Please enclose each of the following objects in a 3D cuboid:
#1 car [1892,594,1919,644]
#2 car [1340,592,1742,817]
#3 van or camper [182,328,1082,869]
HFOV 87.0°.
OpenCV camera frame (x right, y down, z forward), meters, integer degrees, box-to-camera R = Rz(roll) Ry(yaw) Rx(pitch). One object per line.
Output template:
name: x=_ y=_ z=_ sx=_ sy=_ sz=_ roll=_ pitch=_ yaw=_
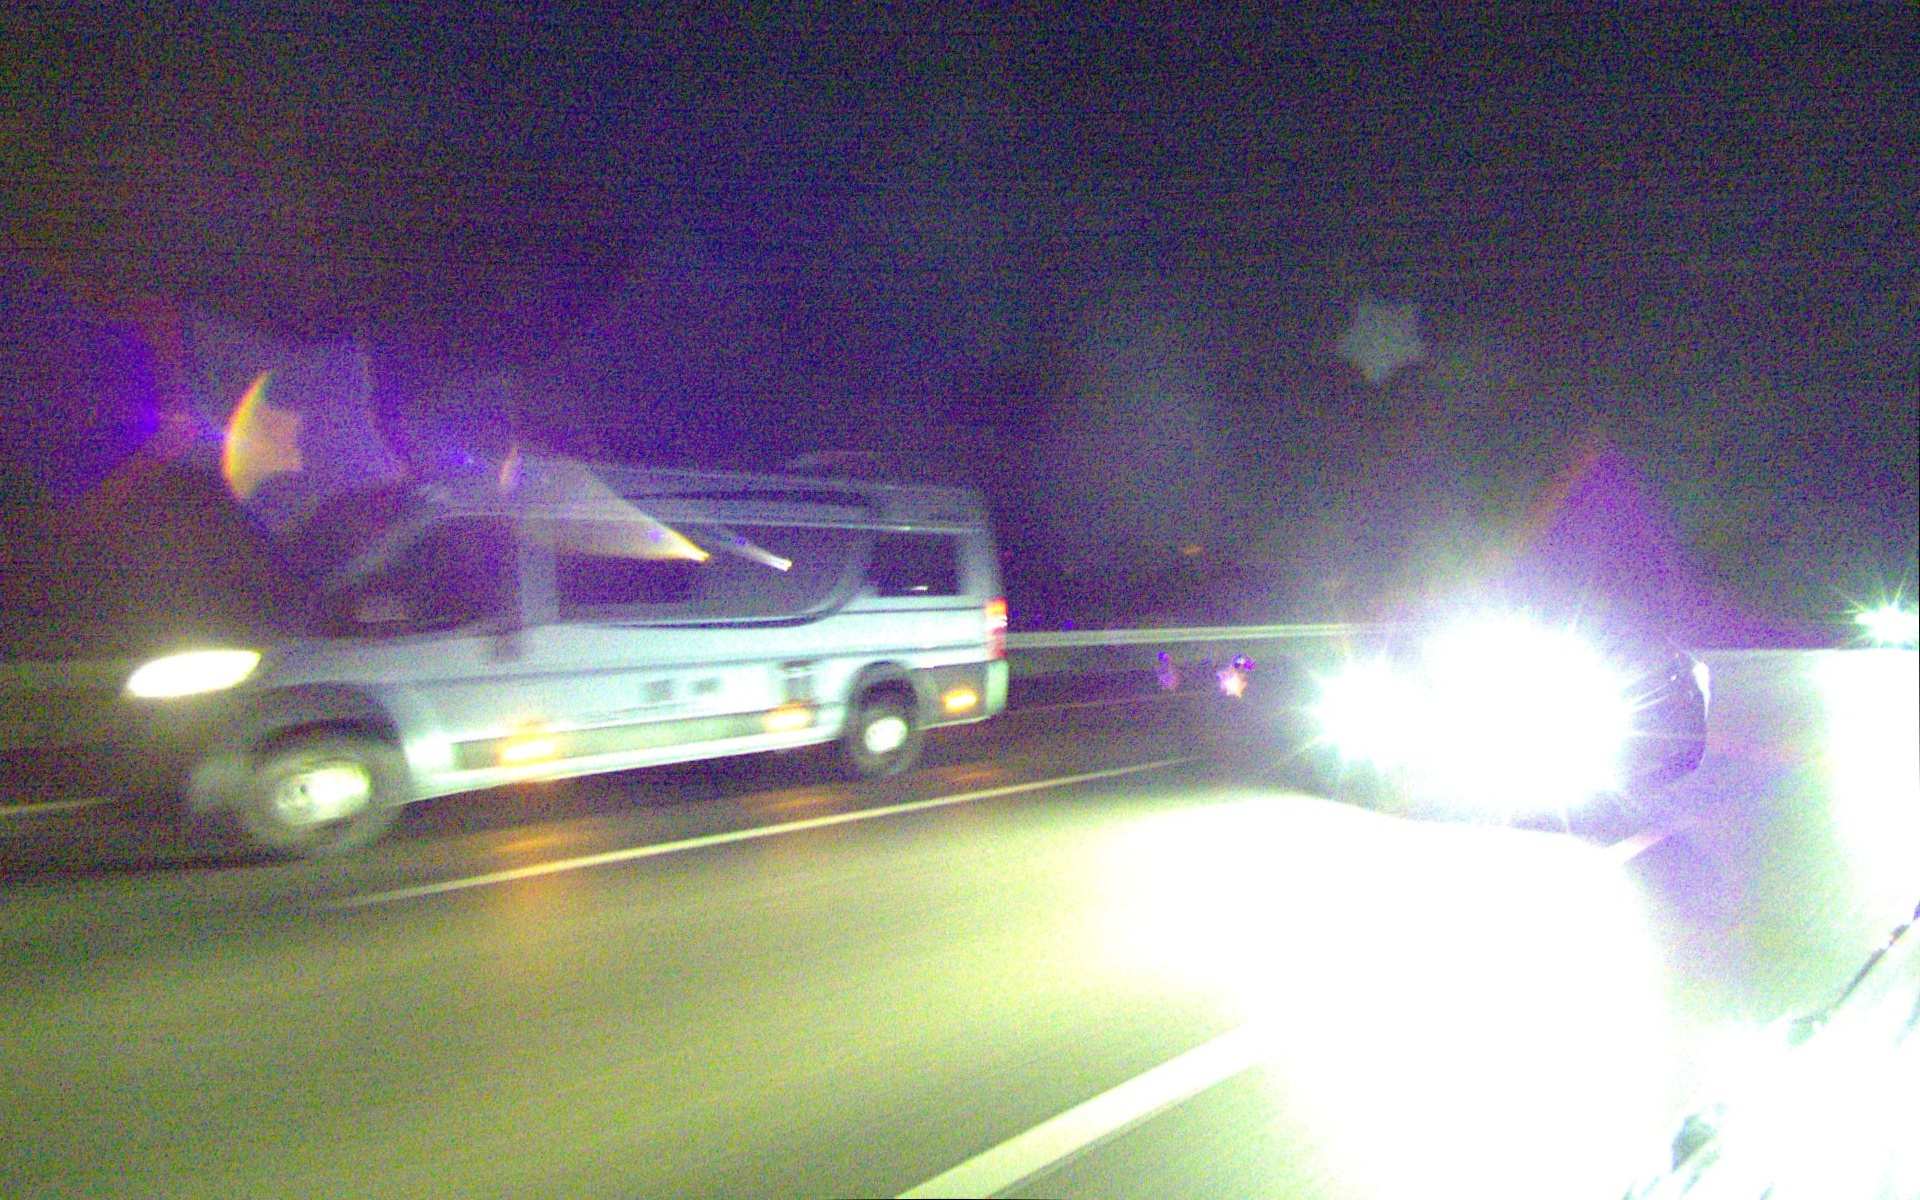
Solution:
car: x=31.855 y=0.604 z=32.909 sx=4.151 sy=1.560 sz=1.794 roll=0 pitch=1 yaw=-41
car: x=5.121 y=0.679 z=8.670 sx=4.151 sy=1.431 sz=1.689 roll=0 pitch=2 yaw=-41
van or camper: x=-2.083 y=-0.009 z=8.280 sx=6.684 sy=2.807 sz=2.211 roll=0 pitch=0 yaw=-41
